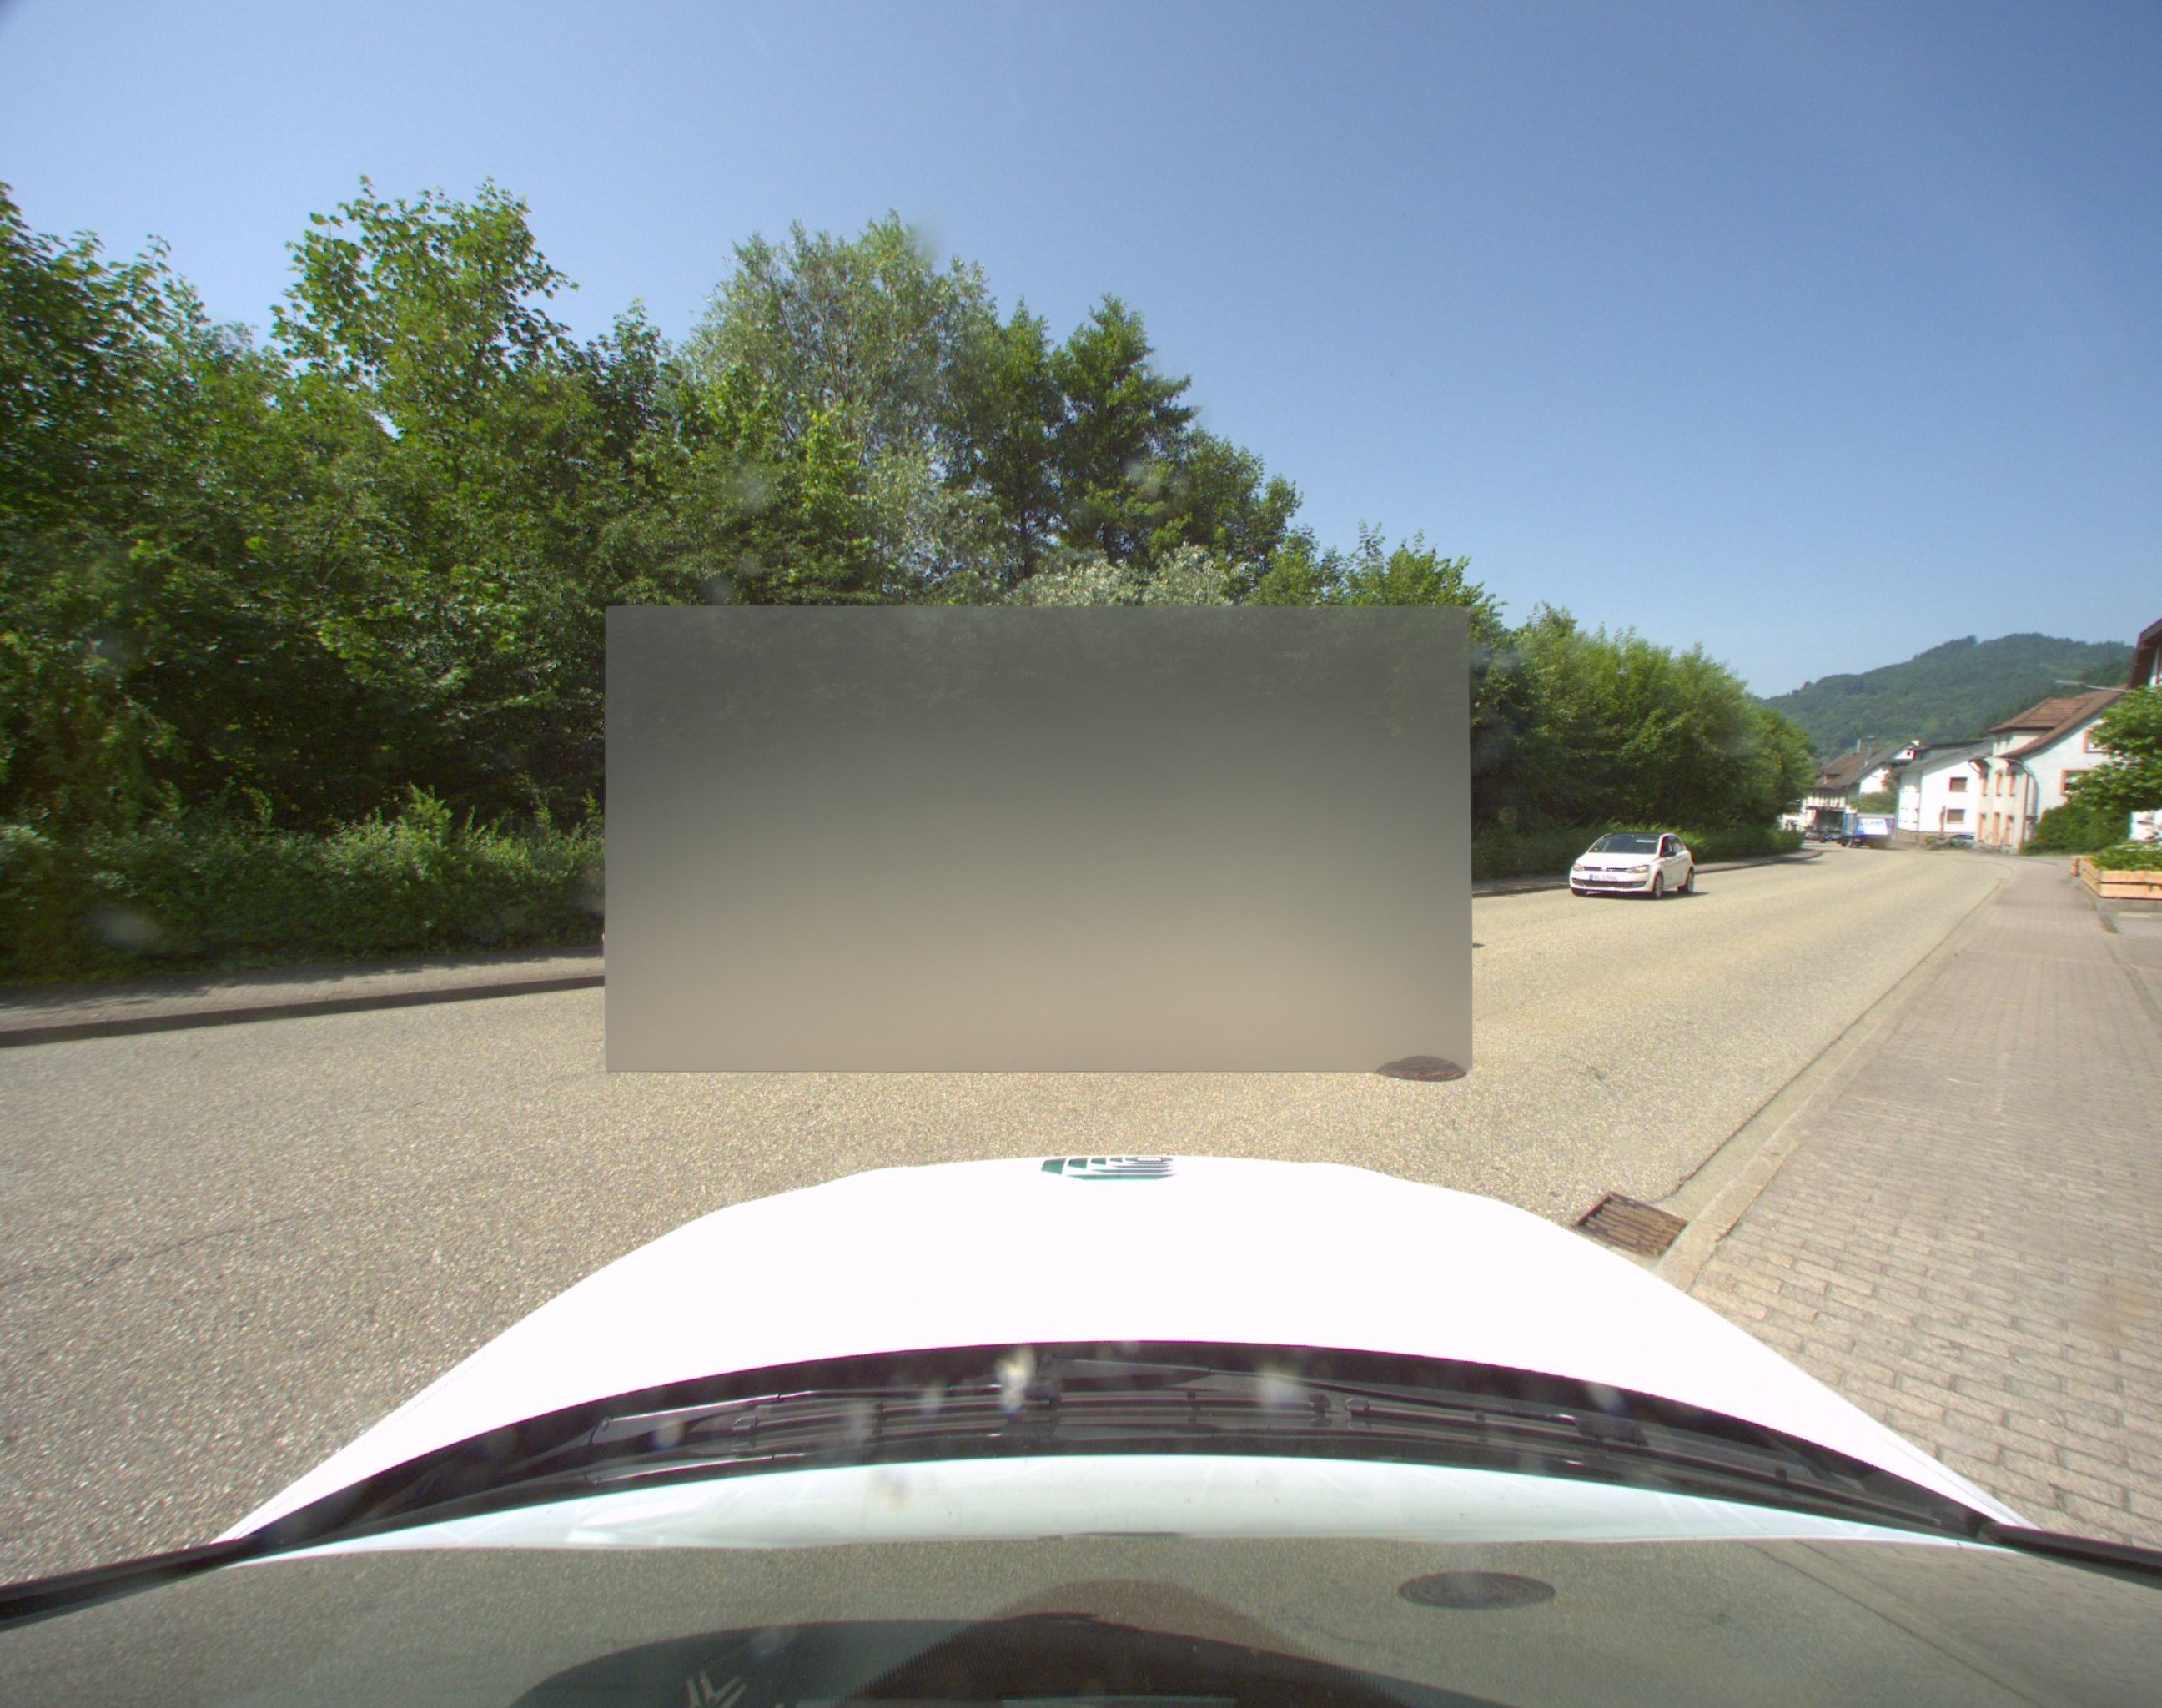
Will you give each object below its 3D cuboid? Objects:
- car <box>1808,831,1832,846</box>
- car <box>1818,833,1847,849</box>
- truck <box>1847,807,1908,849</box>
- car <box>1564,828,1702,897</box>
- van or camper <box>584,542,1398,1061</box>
[{"bbox_3d":[101.141,-2.090,111.498,1.974,1.882,4.025,-1,-1,37],"label":"car"},{"bbox_3d":[90.930,-1.582,98.590,1.974,1.882,4.025,-1,-1,35],"label":"car"},{"bbox_3d":[76.350,-2.388,78.223,3.330,3.782,8.493,-1,-1,39],"label":"truck"},{"bbox_3d":[12.622,0.164,18.545,3.847,1.405,1.591,0,1,-40],"label":"car"},{"bbox_3d":[-0.073,-0.387,8.121,8.092,2.952,2.339,-1,2,-39],"label":"van or camper"}]
